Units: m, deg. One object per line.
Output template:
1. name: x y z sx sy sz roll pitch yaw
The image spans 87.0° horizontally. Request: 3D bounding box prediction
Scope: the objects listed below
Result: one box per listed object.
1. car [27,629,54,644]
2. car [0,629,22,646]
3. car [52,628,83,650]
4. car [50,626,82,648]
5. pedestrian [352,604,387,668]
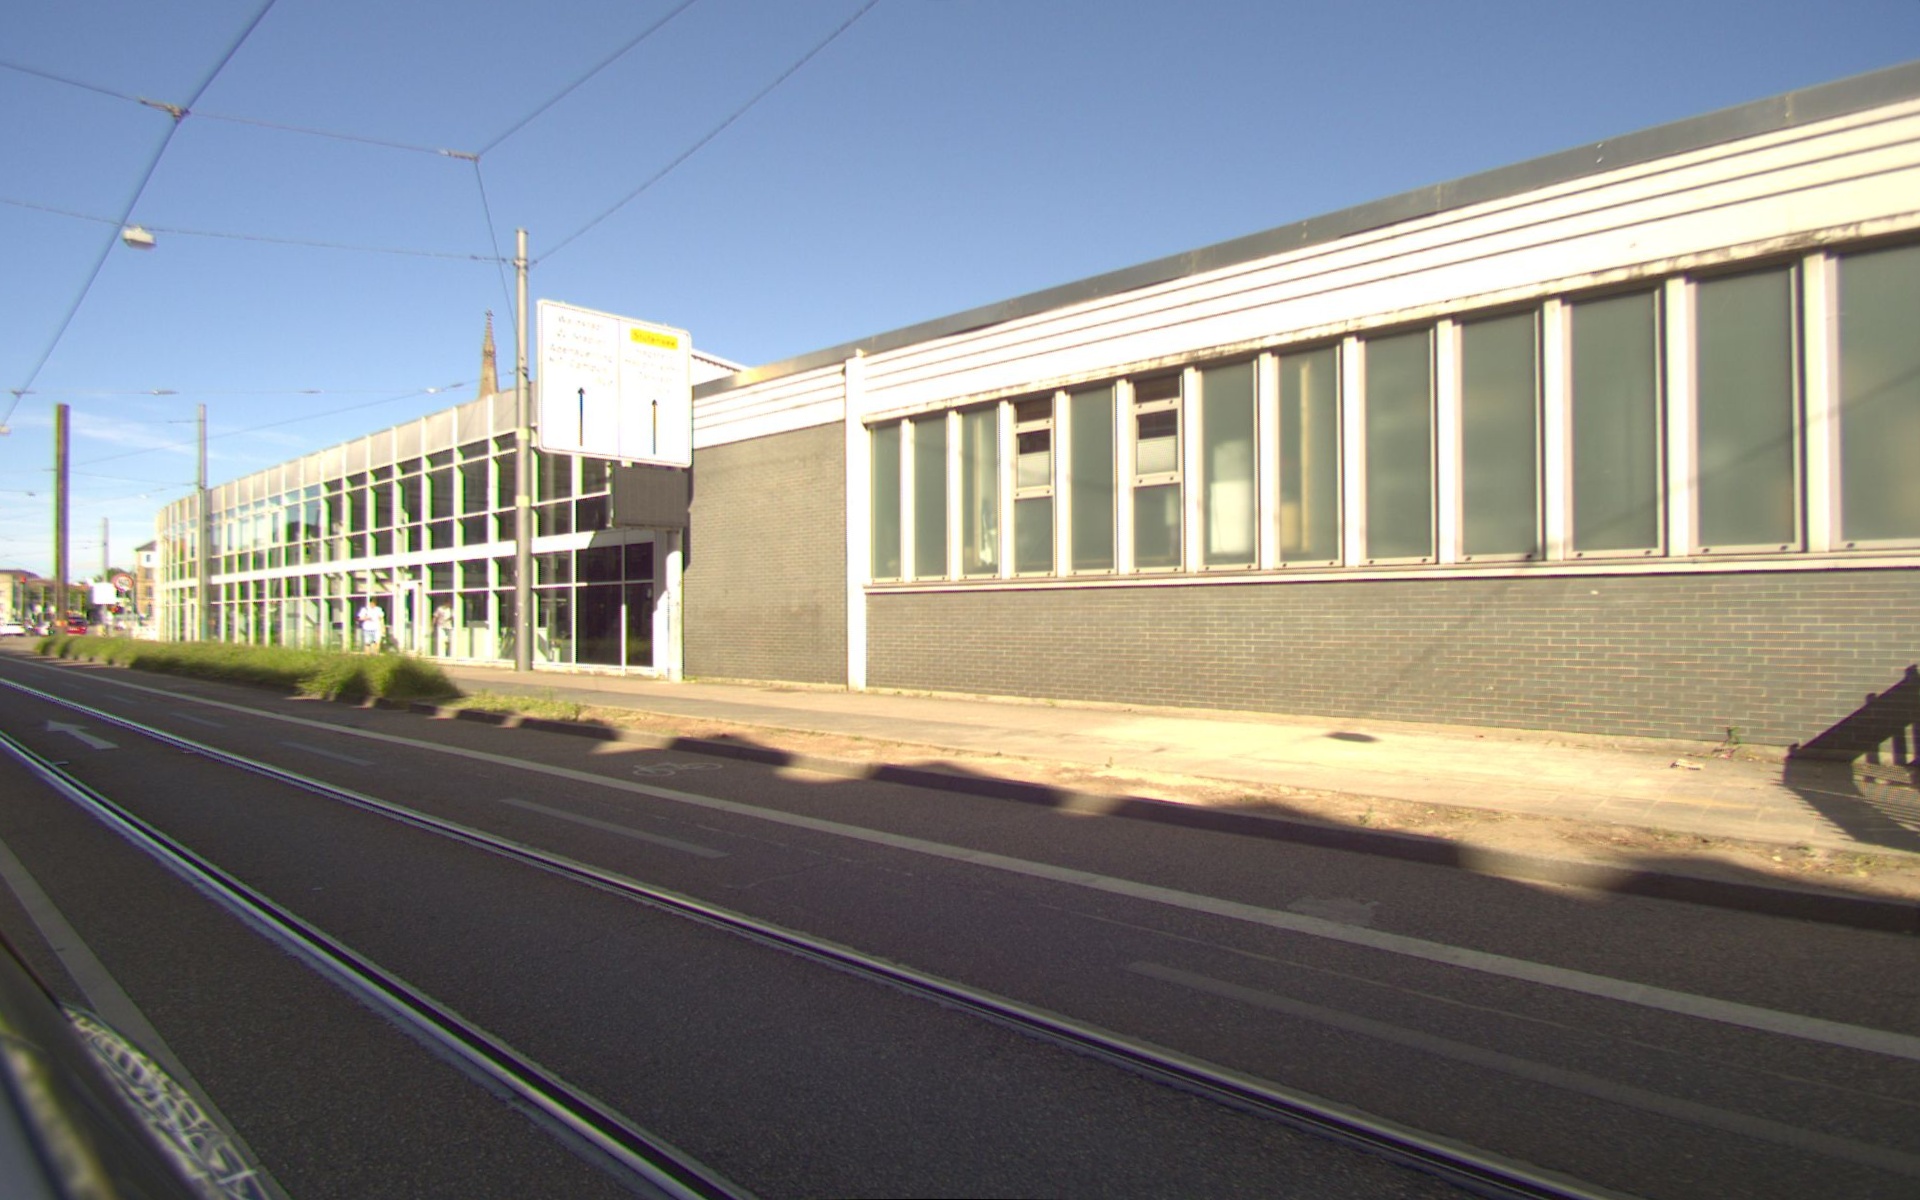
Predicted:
1. car: -93.180 3.664 102.568 3.970 1.490 1.632 -1 -3 42
2. car: -91.735 3.584 97.410 4.540 1.443 1.783 -1 1 42
3. car: -74.460 3.256 84.405 1.777 1.732 4.421 1 -2 -43
4. car: -79.313 3.261 89.801 4.166 1.948 1.782 -1 -2 44
5. pedestrian: -16.919 1.018 29.002 1.050 1.778 0.521 -1 0 41
